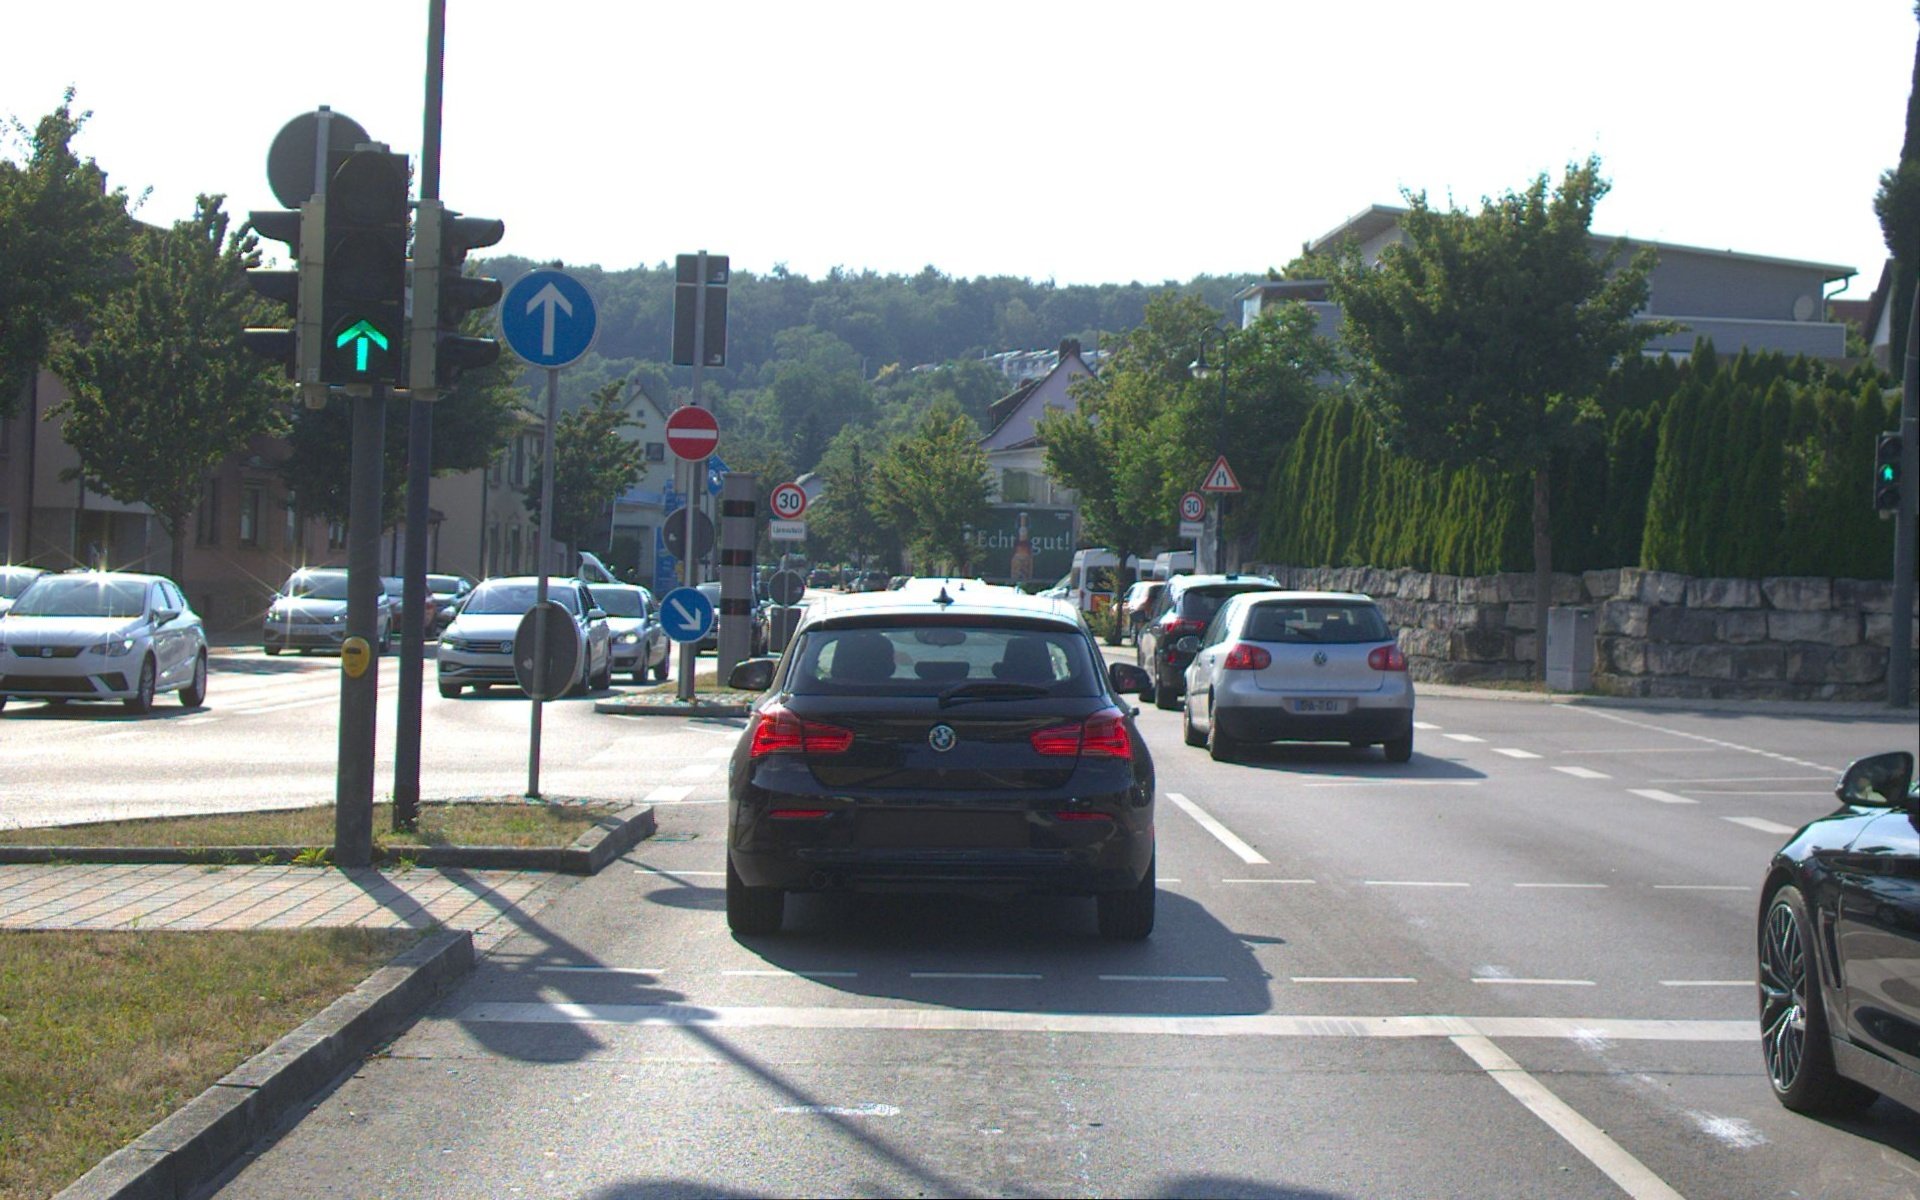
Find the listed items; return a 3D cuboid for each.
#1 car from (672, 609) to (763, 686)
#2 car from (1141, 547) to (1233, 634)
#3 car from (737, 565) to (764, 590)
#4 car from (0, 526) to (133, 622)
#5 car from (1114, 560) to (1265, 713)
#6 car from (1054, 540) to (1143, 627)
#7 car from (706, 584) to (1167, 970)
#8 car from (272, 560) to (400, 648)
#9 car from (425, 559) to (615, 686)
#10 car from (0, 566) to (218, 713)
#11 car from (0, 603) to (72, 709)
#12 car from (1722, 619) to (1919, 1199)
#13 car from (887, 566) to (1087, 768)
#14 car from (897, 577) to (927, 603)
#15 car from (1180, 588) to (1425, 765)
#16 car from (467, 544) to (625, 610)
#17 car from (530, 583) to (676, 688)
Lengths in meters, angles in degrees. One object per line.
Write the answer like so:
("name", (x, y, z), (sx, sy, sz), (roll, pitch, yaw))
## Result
("car", (-4.960, 0.949, 70.625), (1.532, 1.457, 3.506), (1, 1, 1))
("car", (7.303, -0.343, 111.336), (2.111, 2.712, 6.444), (1, 1, -4))
("car", (-13.355, -1.441, 219.132), (1.596, 1.480, 3.475), (2, 1, -3))
("car", (-19.688, -0.588, 72.786), (3.821, 1.875, 1.779), (3, 0, 2))
("car", (2.783, 0.407, 42.176), (1.603, 1.761, 3.411), (1, 1, 0))
("car", (4.420, -0.555, 110.771), (2.149, 2.671, 6.604), (1, 1, -3))
("car", (-0.117, 0.682, 15.131), (1.771, 1.451, 3.516), (1, 1, -1))
("car", (-12.036, 0.059, 66.502), (1.685, 1.606, 4.413), (1, 0, -1))
("car", (-5.511, 0.247, 43.582), (1.835, 1.483, 4.566), (1, 1, -1))
("car", (-9.086, 0.371, 36.090), (1.757, 1.406, 4.000), (1, 1, -1))
("car", (-15.409, 0.855, 54.809), (1.512, 1.505, 3.886), (3, 1, -1))
("car", (3.158, 0.778, 8.046), (1.699, 1.364, 4.262), (1, 1, -1))
("car", (0.280, 0.521, 29.806), (1.592, 1.595, 3.893), (1, 1, 2))
("car", (-2.887, -0.617, 205.961), (1.596, 1.480, 3.475), (2, 1, -3))
("car", (2.969, 0.633, 30.451), (1.753, 1.409, 3.422), (1, 1, -1))
("car", (-16.941, -0.955, 140.844), (6.158, 2.436, 2.249), (2, 1, -2))
("car", (-5.106, 0.490, 49.485), (1.589, 1.422, 3.578), (1, 0, 2))
